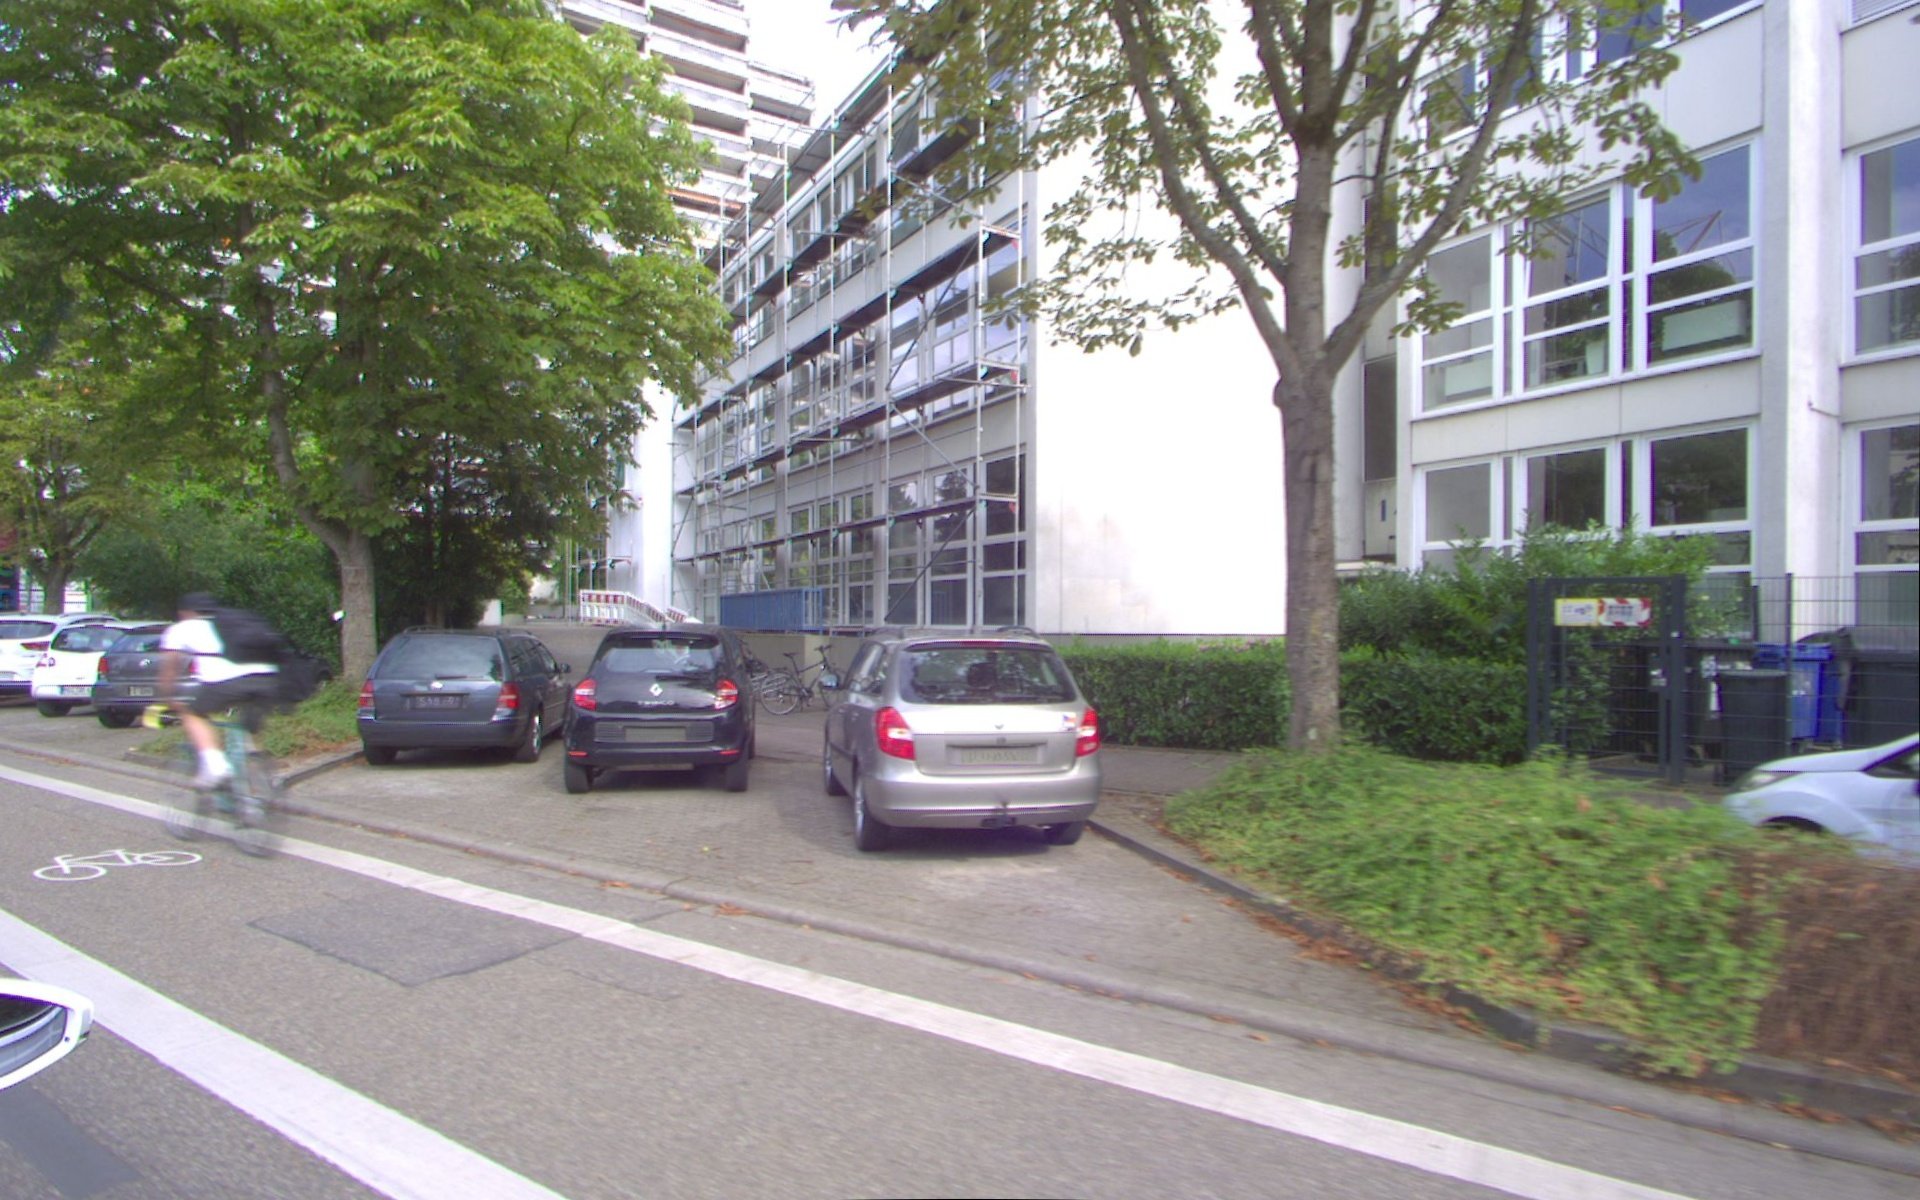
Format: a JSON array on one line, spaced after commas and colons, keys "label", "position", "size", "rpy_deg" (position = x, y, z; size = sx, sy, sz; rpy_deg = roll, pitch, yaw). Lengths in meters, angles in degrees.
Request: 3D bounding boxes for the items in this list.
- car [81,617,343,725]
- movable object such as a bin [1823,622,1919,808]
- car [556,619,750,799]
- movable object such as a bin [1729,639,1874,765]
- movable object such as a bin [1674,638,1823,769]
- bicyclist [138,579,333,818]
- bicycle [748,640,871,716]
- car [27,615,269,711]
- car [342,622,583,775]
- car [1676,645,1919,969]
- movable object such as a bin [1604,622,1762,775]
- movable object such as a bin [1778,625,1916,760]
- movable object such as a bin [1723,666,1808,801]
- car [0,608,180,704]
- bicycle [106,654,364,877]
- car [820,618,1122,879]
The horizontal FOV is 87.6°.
[{"label": "car", "position": [-11.177, 1.006, 15.286], "size": [1.593, 1.461, 3.535], "rpy_deg": [1, -1, -6]}, {"label": "movable object such as a bin", "position": [8.360, 0.971, 8.581], "size": [1.315, 1.527, 1.067], "rpy_deg": [0, -2, 34]}, {"label": "car", "position": [-3.051, 1.002, 10.583], "size": [1.610, 1.542, 3.737], "rpy_deg": [1, -2, -12]}, {"label": "movable object such as a bin", "position": [9.943, 1.170, 11.844], "size": [1.021, 1.385, 1.072], "rpy_deg": [2, -2, -33]}, {"label": "movable object such as a bin", "position": [8.957, 1.135, 11.391], "size": [1.021, 1.385, 1.072], "rpy_deg": [2, -2, -33]}, {"label": "bicyclist", "position": [-4.927, 0.622, 6.805], "size": [1.161, 1.482, 0.656], "rpy_deg": [0, -1, 32]}, {"label": "bicycle", "position": [-2.490, 1.274, 16.682], "size": [1.943, 1.143, 0.536], "rpy_deg": [-1, 0, -28]}, {"label": "car", "position": [-13.614, 1.015, 17.058], "size": [1.530, 1.461, 3.447], "rpy_deg": [1, -1, -6]}, {"label": "car", "position": [-5.567, 1.022, 11.695], "size": [1.610, 1.477, 3.737], "rpy_deg": [1, -2, -12]}, {"label": "car", "position": [5.390, 0.958, 4.149], "size": [1.611, 1.478, 3.825], "rpy_deg": [1, -2, -14]}, {"label": "movable object such as a bin", "position": [7.856, 1.023, 10.896], "size": [1.105, 1.542, 1.072], "rpy_deg": [2, -1, -33]}, {"label": "movable object such as a bin", "position": [11.091, 1.117, 12.531], "size": [1.021, 1.582, 1.072], "rpy_deg": [2, -1, -33]}, {"label": "movable object such as a bin", "position": [7.202, 1.165, 8.948], "size": [0.566, 1.117, 0.647], "rpy_deg": [0, -2, 42]}, {"label": "car", "position": [-16.357, 0.976, 18.438], "size": [1.530, 1.593, 3.447], "rpy_deg": [1, -1, -6]}, {"label": "bicycle", "position": [-4.961, 1.028, 6.806], "size": [2.094, 1.265, 0.656], "rpy_deg": [0, -1, 32]}, {"label": "car", "position": [-0.159, 0.944, 7.922], "size": [1.610, 1.542, 3.737], "rpy_deg": [1, -2, -12]}]
